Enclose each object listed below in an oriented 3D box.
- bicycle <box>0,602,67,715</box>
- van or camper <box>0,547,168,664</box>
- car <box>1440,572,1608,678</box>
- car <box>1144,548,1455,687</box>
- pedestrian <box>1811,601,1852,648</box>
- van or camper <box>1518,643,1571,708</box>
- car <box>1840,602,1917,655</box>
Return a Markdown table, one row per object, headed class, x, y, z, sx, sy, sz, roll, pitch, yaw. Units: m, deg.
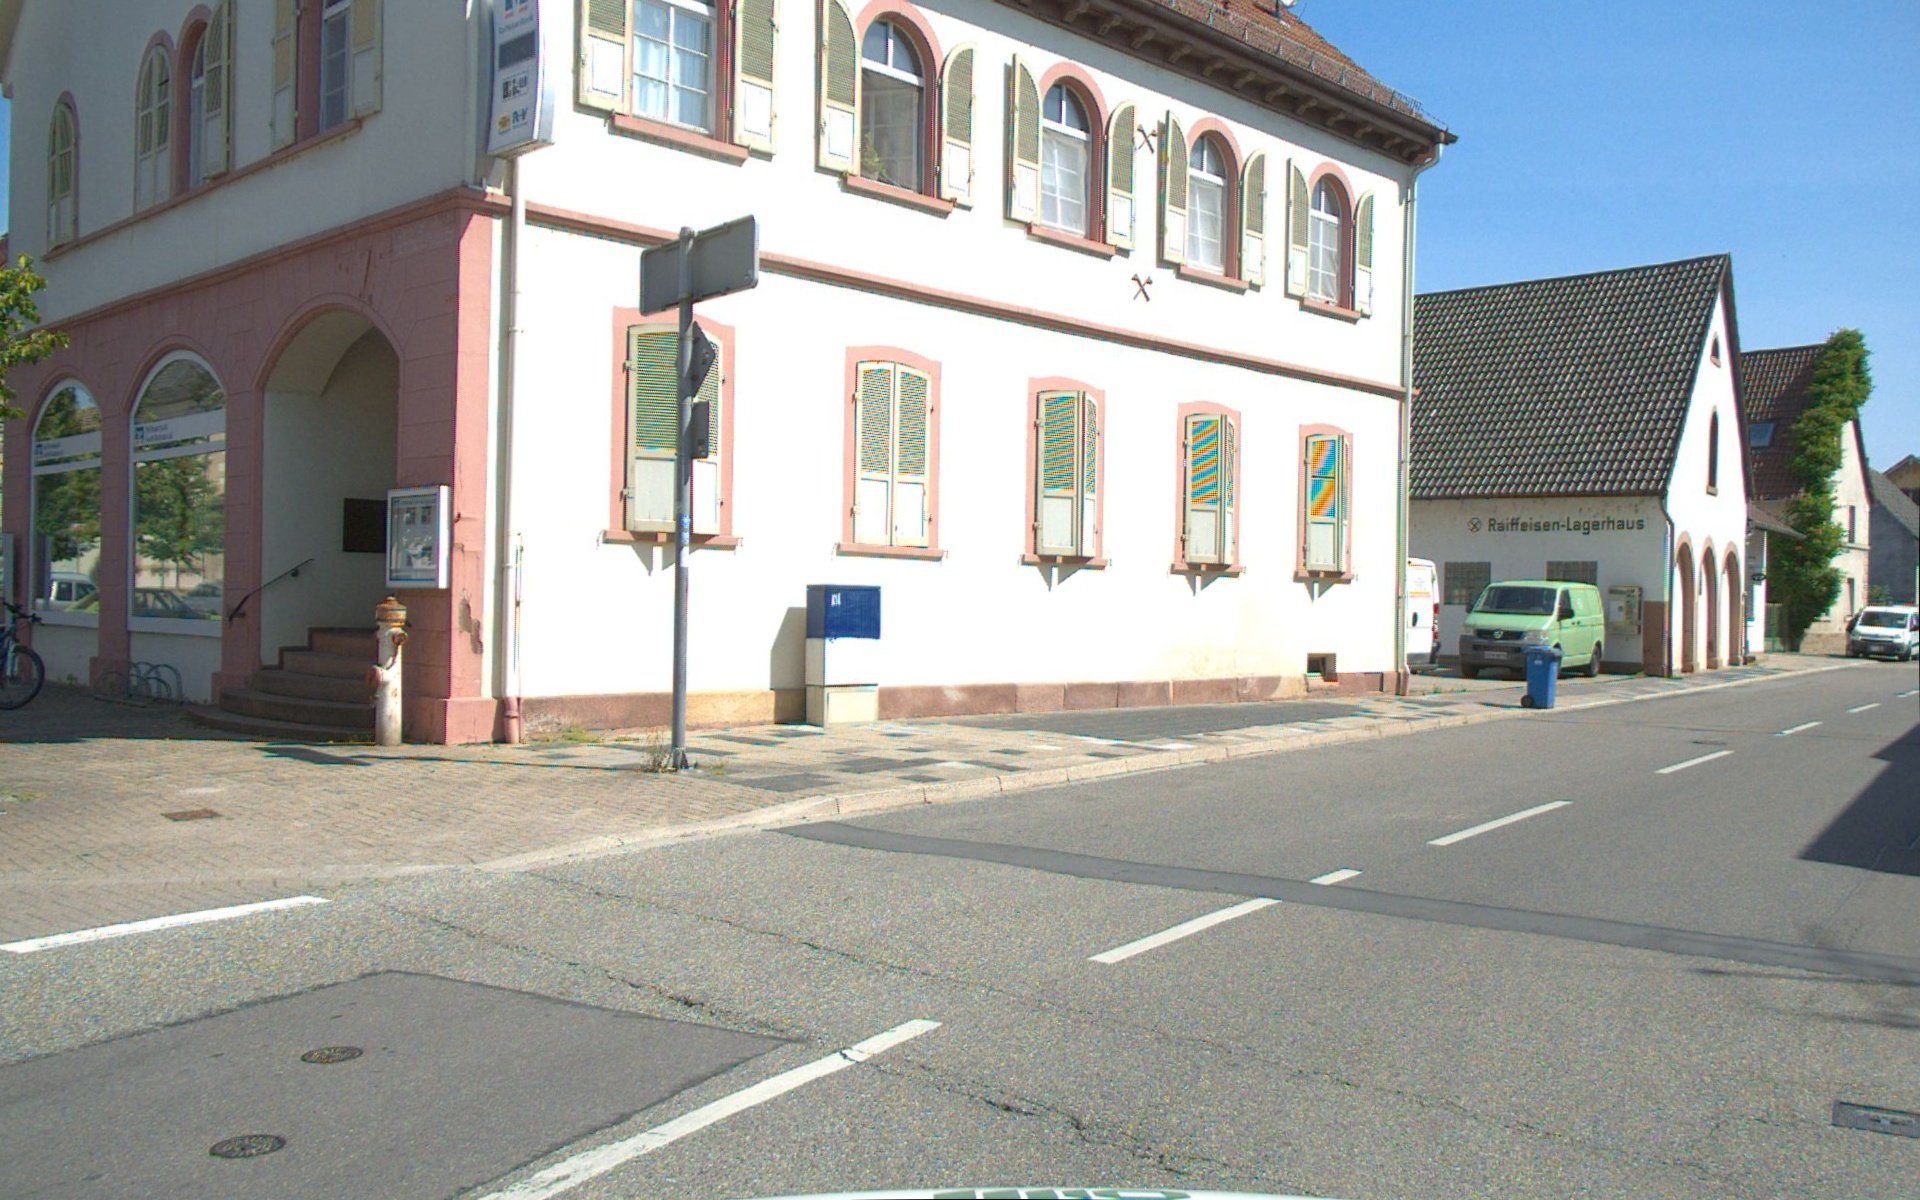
| class | x | y | z | sx | sy | sz | roll | pitch | yaw |
| --- | --- | --- | --- | --- | --- | --- | --- | --- | --- |
| bicycle | -10.326 | 0.615 | 18.075 | 0.590 | 1.155 | 1.721 | 1 | 0 | -42 |
| van or camper | -16.780 | 0.090 | 30.109 | 3.957 | 2.049 | 1.974 | 1 | 0 | -37 |
| car | 11.830 | 0.490 | 34.488 | 1.961 | 1.999 | 4.650 | 2 | 1 | 36 |
| car | 5.905 | 0.228 | 29.284 | 2.106 | 2.235 | 5.110 | 1 | 1 | -43 |
| pedestrian | 30.304 | 0.848 | 57.497 | 1.116 | 1.579 | 1.013 | 2 | 0 | 34 |
| van or camper | 9.001 | 1.153 | 25.467 | 0.581 | 0.968 | 0.596 | 1 | 0 | 41 |
| car | 31.132 | 0.948 | 56.004 | 1.823 | 1.676 | 4.414 | 1 | 0 | 35 |
